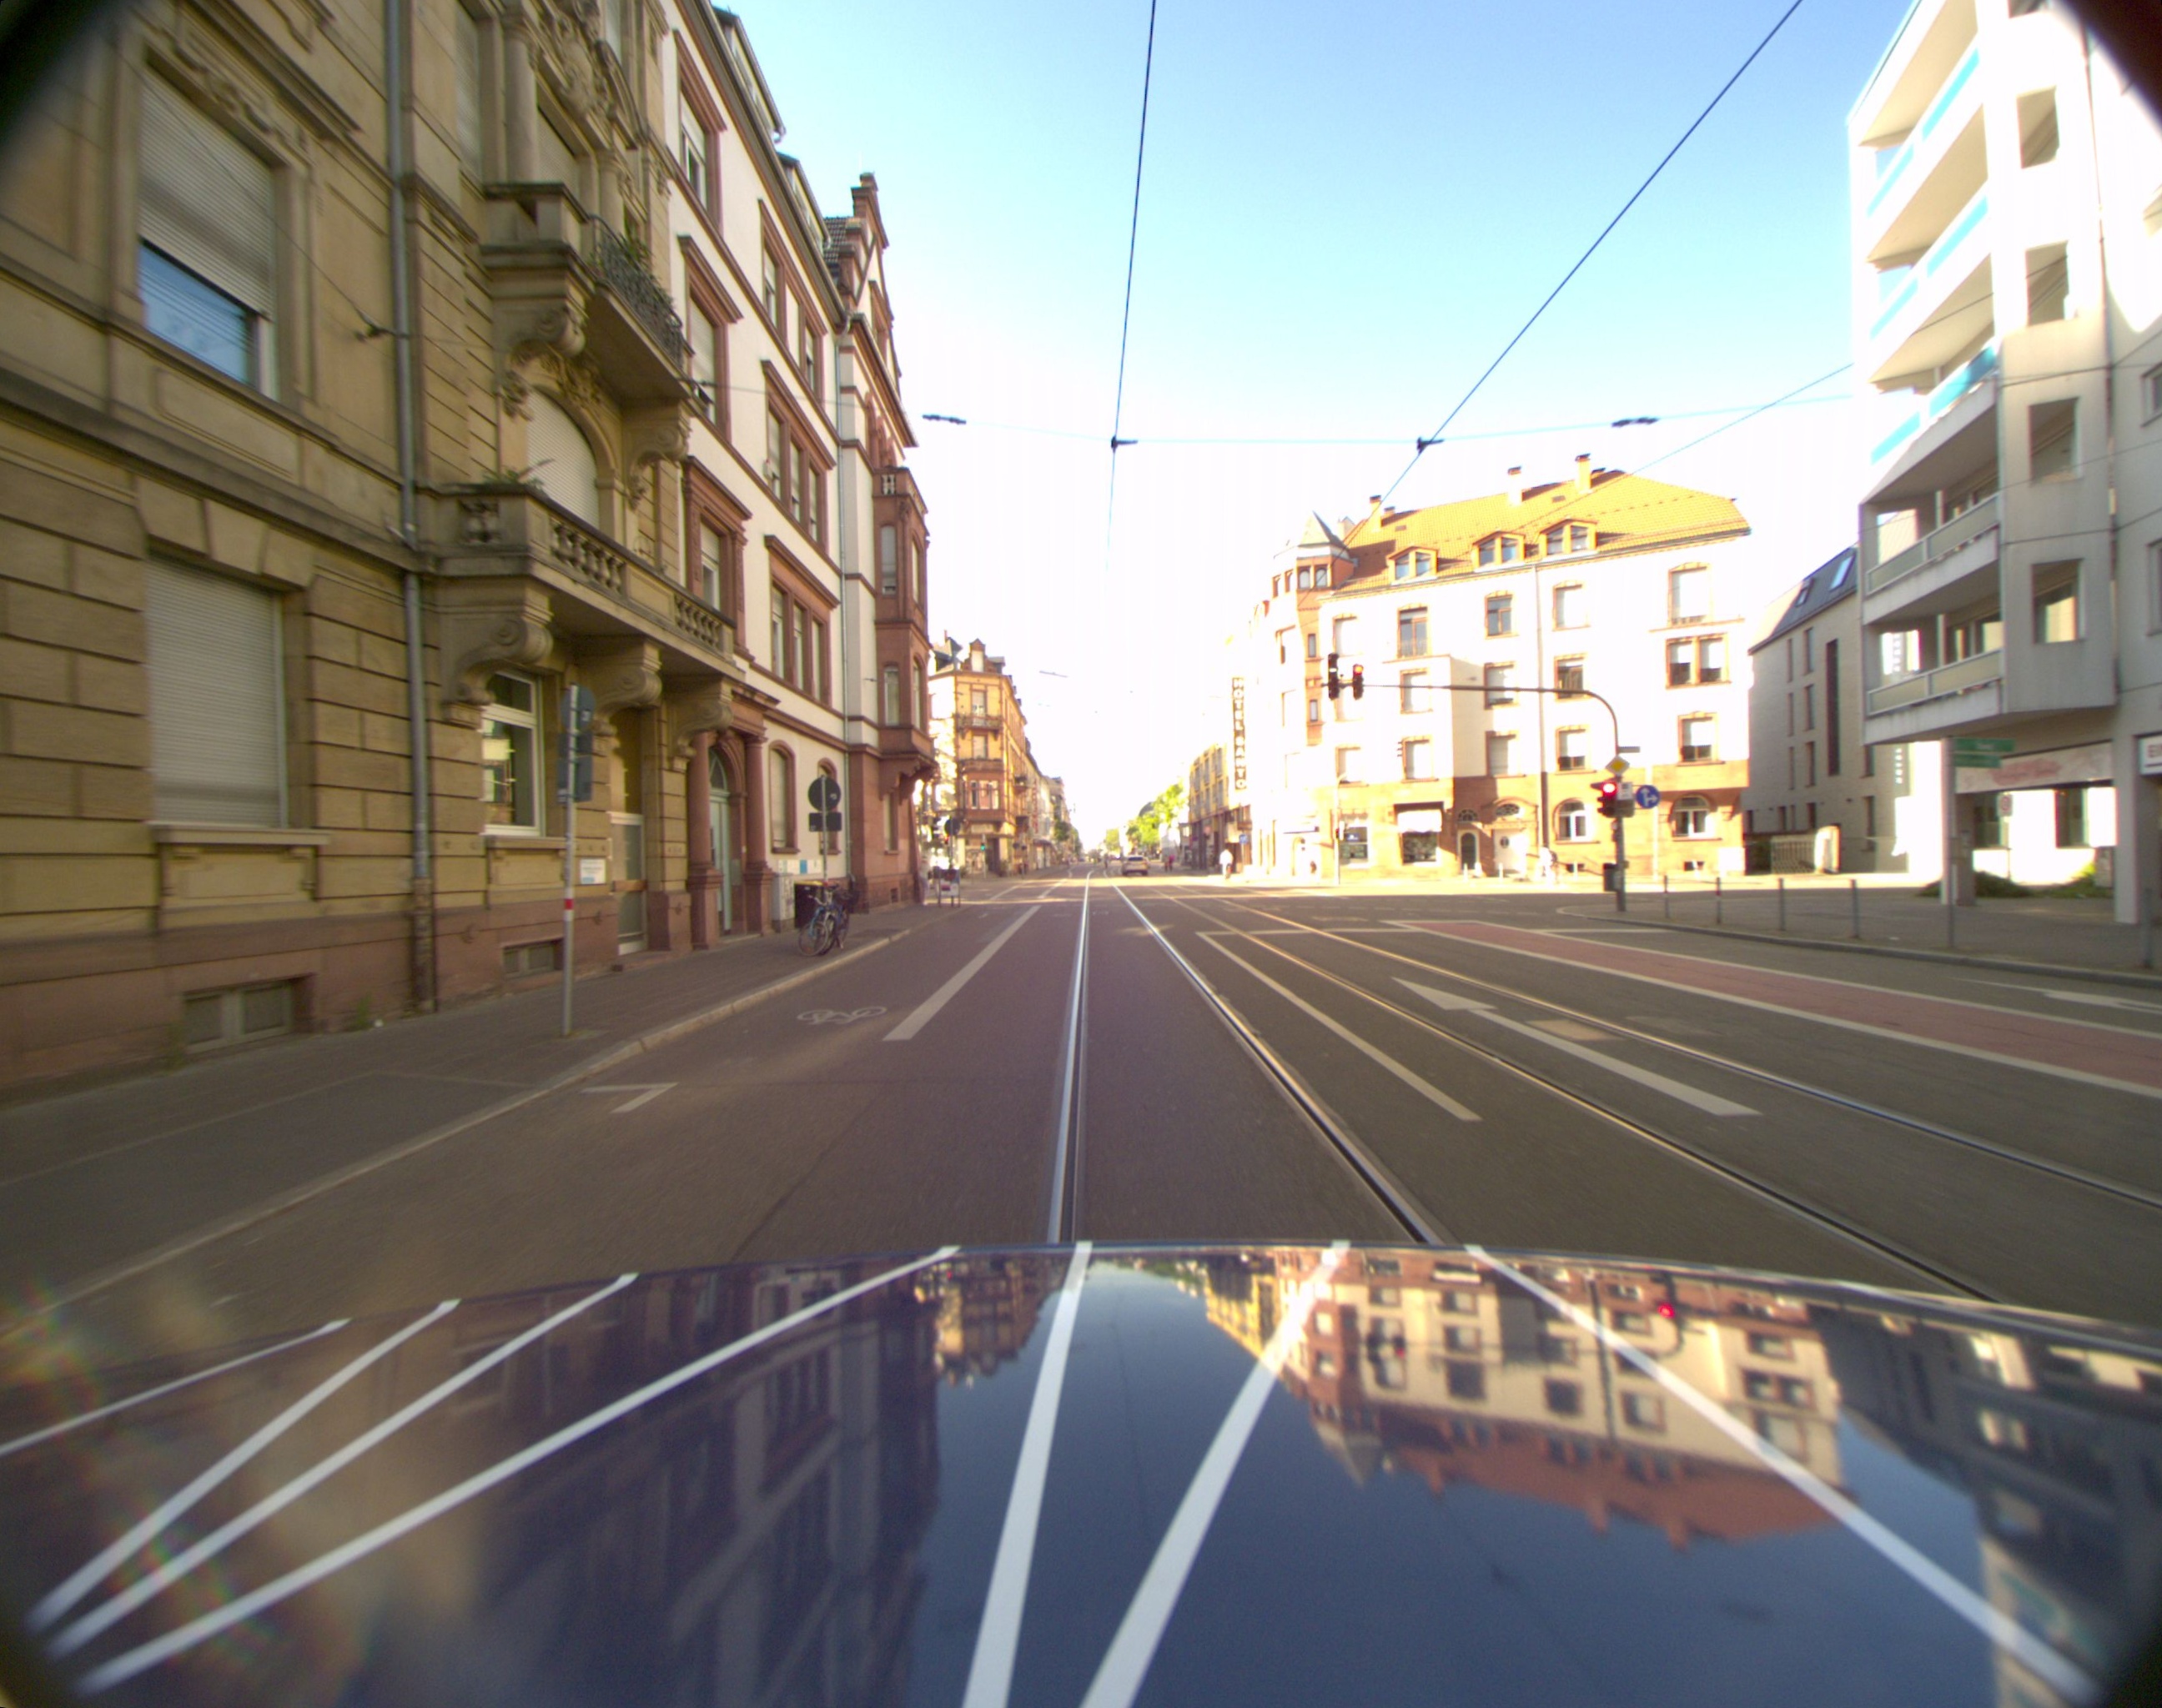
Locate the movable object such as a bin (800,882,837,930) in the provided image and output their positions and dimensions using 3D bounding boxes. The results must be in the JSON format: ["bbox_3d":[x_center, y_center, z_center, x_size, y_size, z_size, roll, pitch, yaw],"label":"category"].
[{"bbox_3d":[-6.113,1.210,17.723,0.667,1.070,0.571,0,0,0],"label":"movable object such as a bin"}]

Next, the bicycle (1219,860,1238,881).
[{"bbox_3d":[8.406,0.943,43.434,0.694,1.114,2.083,-1,0,0],"label":"bicycle"}]

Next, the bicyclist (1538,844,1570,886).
[{"bbox_3d":[20.040,0.455,32.196,0.617,1.753,0.971,-2,1,-39],"label":"bicyclist"}]

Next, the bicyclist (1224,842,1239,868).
[{"bbox_3d":[8.529,0.068,43.020,0.684,1.474,0.778,-1,0,0],"label":"bicyclist"}]

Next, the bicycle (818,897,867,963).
[{"bbox_3d":[-4.006,1.247,12.856,0.432,0.942,1.762,-1,0,-6],"label":"bicycle"}]

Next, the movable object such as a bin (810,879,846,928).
[{"bbox_3d":[-6.112,1.187,18.374,0.667,1.147,0.594,0,0,0],"label":"movable object such as a bin"}]

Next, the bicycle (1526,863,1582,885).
[{"bbox_3d":[20.039,0.846,32.212,0.793,0.904,1.809,-2,0,-38],"label":"bicycle"}]

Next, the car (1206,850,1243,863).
[{"bbox_3d":[17.692,0.300,93.669,4.244,1.539,1.784,-1,2,1],"label":"car"}]

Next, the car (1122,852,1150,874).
[{"bbox_3d":[4.607,0.695,64.080,1.999,1.734,4.562,-2,0,0],"label":"car"}]

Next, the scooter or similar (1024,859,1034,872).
[{"bbox_3d":[-4.947,1.088,72.146,0.899,1.142,0.547,2,0,-1],"label":"scooter or similar"}]

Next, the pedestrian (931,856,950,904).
[{"bbox_3d":[-5.086,0.922,27.531,0.628,1.691,0.682,-1,0,-8],"label":"pedestrian"}]

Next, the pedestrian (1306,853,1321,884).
[{"bbox_3d":[12.099,0.749,39.525,0.544,1.543,0.516,-2,1,-1],"label":"pedestrian"}]

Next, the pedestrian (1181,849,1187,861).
[{"bbox_3d":[14.705,0.157,108.476,0.715,1.754,0.779,-2,1,-8],"label":"pedestrian"}]

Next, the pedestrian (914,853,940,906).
[{"bbox_3d":[-5.310,0.888,26.266,0.707,1.771,0.673,-2,-1,-1],"label":"pedestrian"}]

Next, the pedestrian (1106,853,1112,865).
[{"bbox_3d":[3.903,0.690,105.404,0.781,1.551,0.650,-1,1,0],"label":"pedestrian"}]

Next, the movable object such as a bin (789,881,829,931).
[{"bbox_3d":[-6.101,1.167,17.039,0.667,1.070,0.571,-1,1,0],"label":"movable object such as a bin"}]

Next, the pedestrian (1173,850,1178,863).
[{"bbox_3d":[14.260,0.376,114.656,0.639,1.935,0.709,-1,1,-1],"label":"pedestrian"}]

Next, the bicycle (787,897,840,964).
[{"bbox_3d":[-4.488,1.252,12.822,0.432,0.942,1.762,-1,0,-6],"label":"bicycle"}]

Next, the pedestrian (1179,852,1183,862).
[{"bbox_3d":[15.028,0.439,114.346,0.573,1.607,0.499,-1,0,0],"label":"pedestrian"}]
